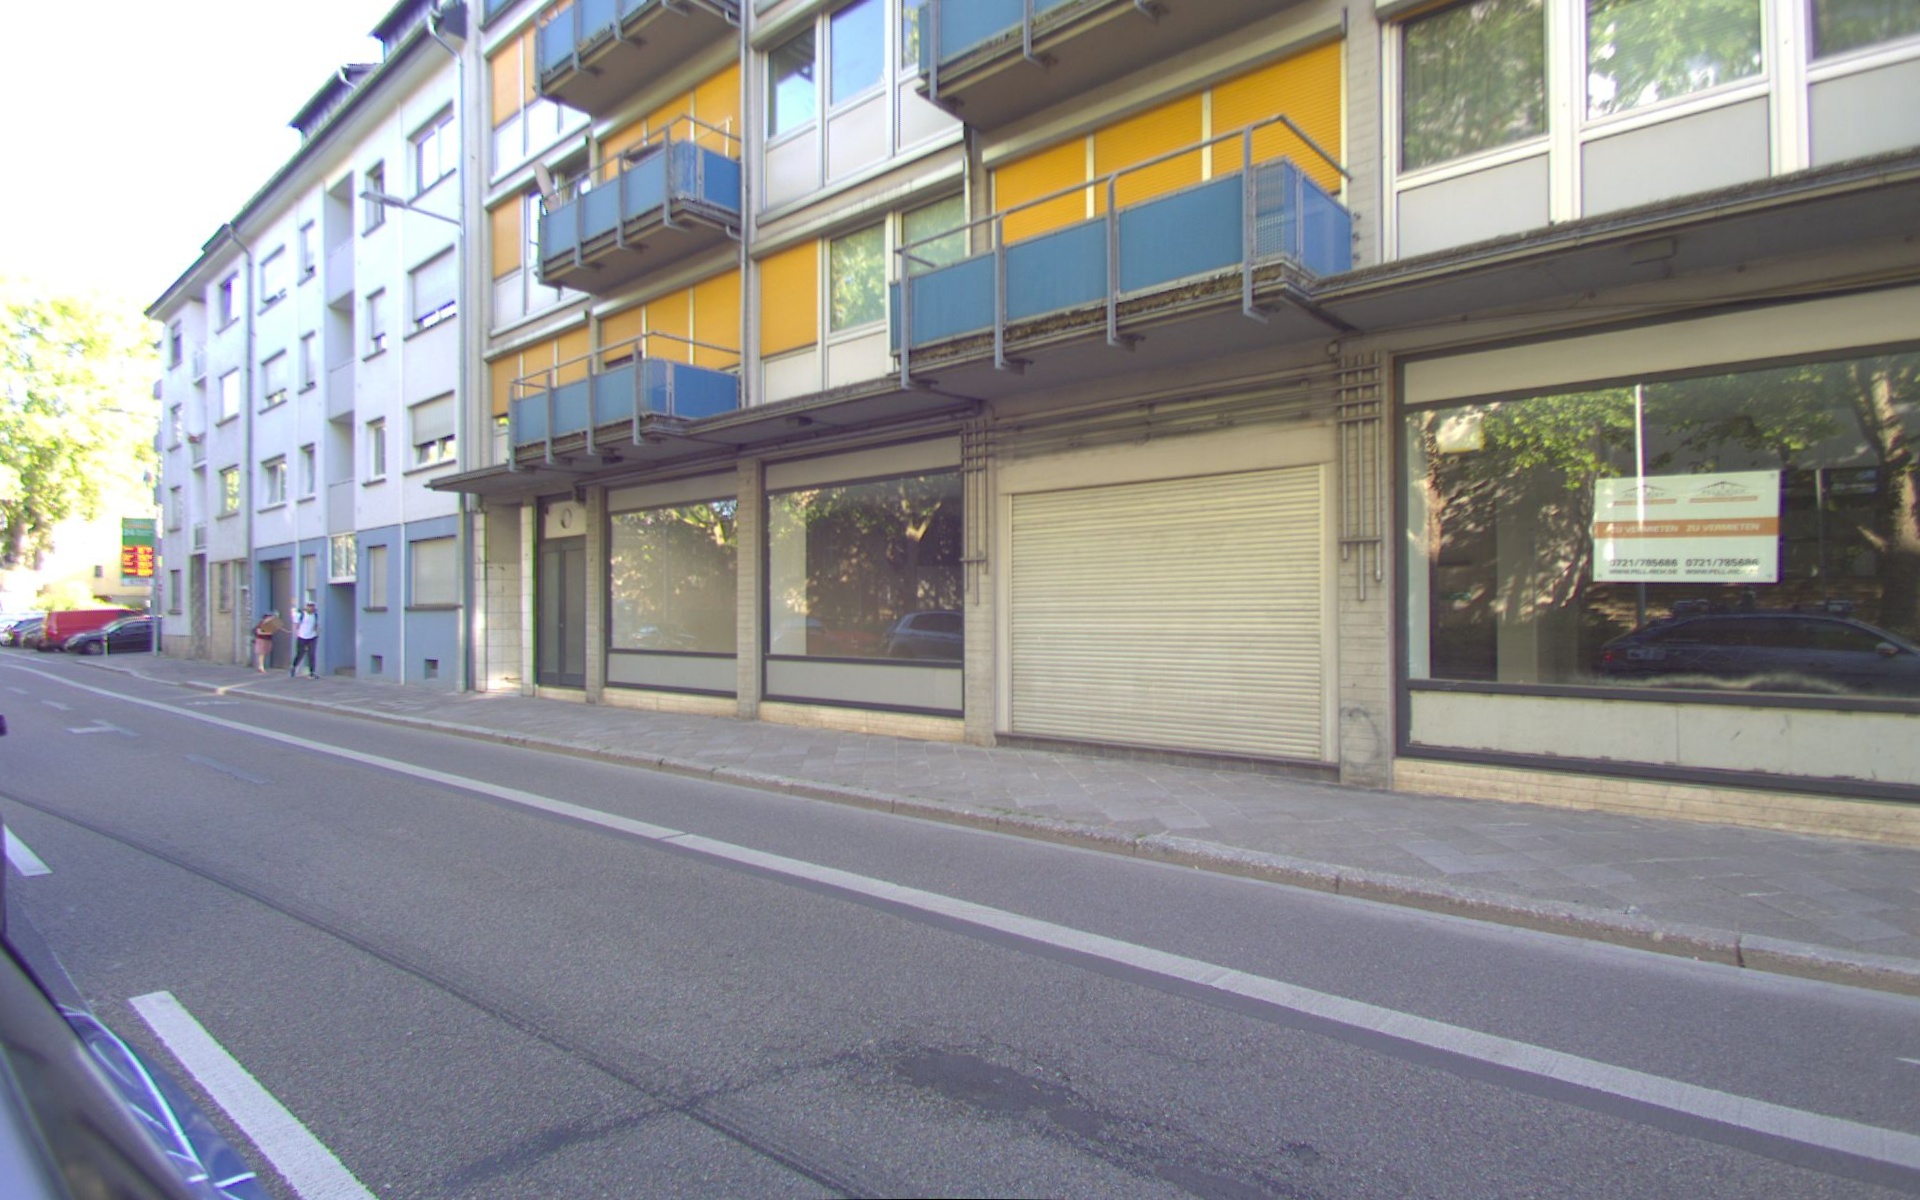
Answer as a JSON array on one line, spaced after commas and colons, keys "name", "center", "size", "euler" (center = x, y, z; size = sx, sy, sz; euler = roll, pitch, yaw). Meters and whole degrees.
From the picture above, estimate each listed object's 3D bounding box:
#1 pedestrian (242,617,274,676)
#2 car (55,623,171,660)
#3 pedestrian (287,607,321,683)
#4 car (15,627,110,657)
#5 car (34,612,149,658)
[{"name": "pedestrian", "center": [-18.698, 1.222, 26.964], "size": [0.341, 1.529, 0.565], "euler": [-2, 0, 24]}, {"name": "car", "center": [-36.666, 1.768, 43.845], "size": [1.635, 1.422, 3.623], "euler": [-1, 0, 41]}, {"name": "pedestrian", "center": [-15.382, 1.037, 23.739], "size": [0.343, 1.739, 0.562], "euler": [-2, 0, 41]}, {"name": "car", "center": [-43.016, 2.000, 48.549], "size": [1.294, 1.258, 3.283], "euler": [-1, 0, 41]}, {"name": "car", "center": [-40.590, 1.581, 47.374], "size": [1.635, 1.937, 3.878], "euler": [-1, 0, 41]}]
